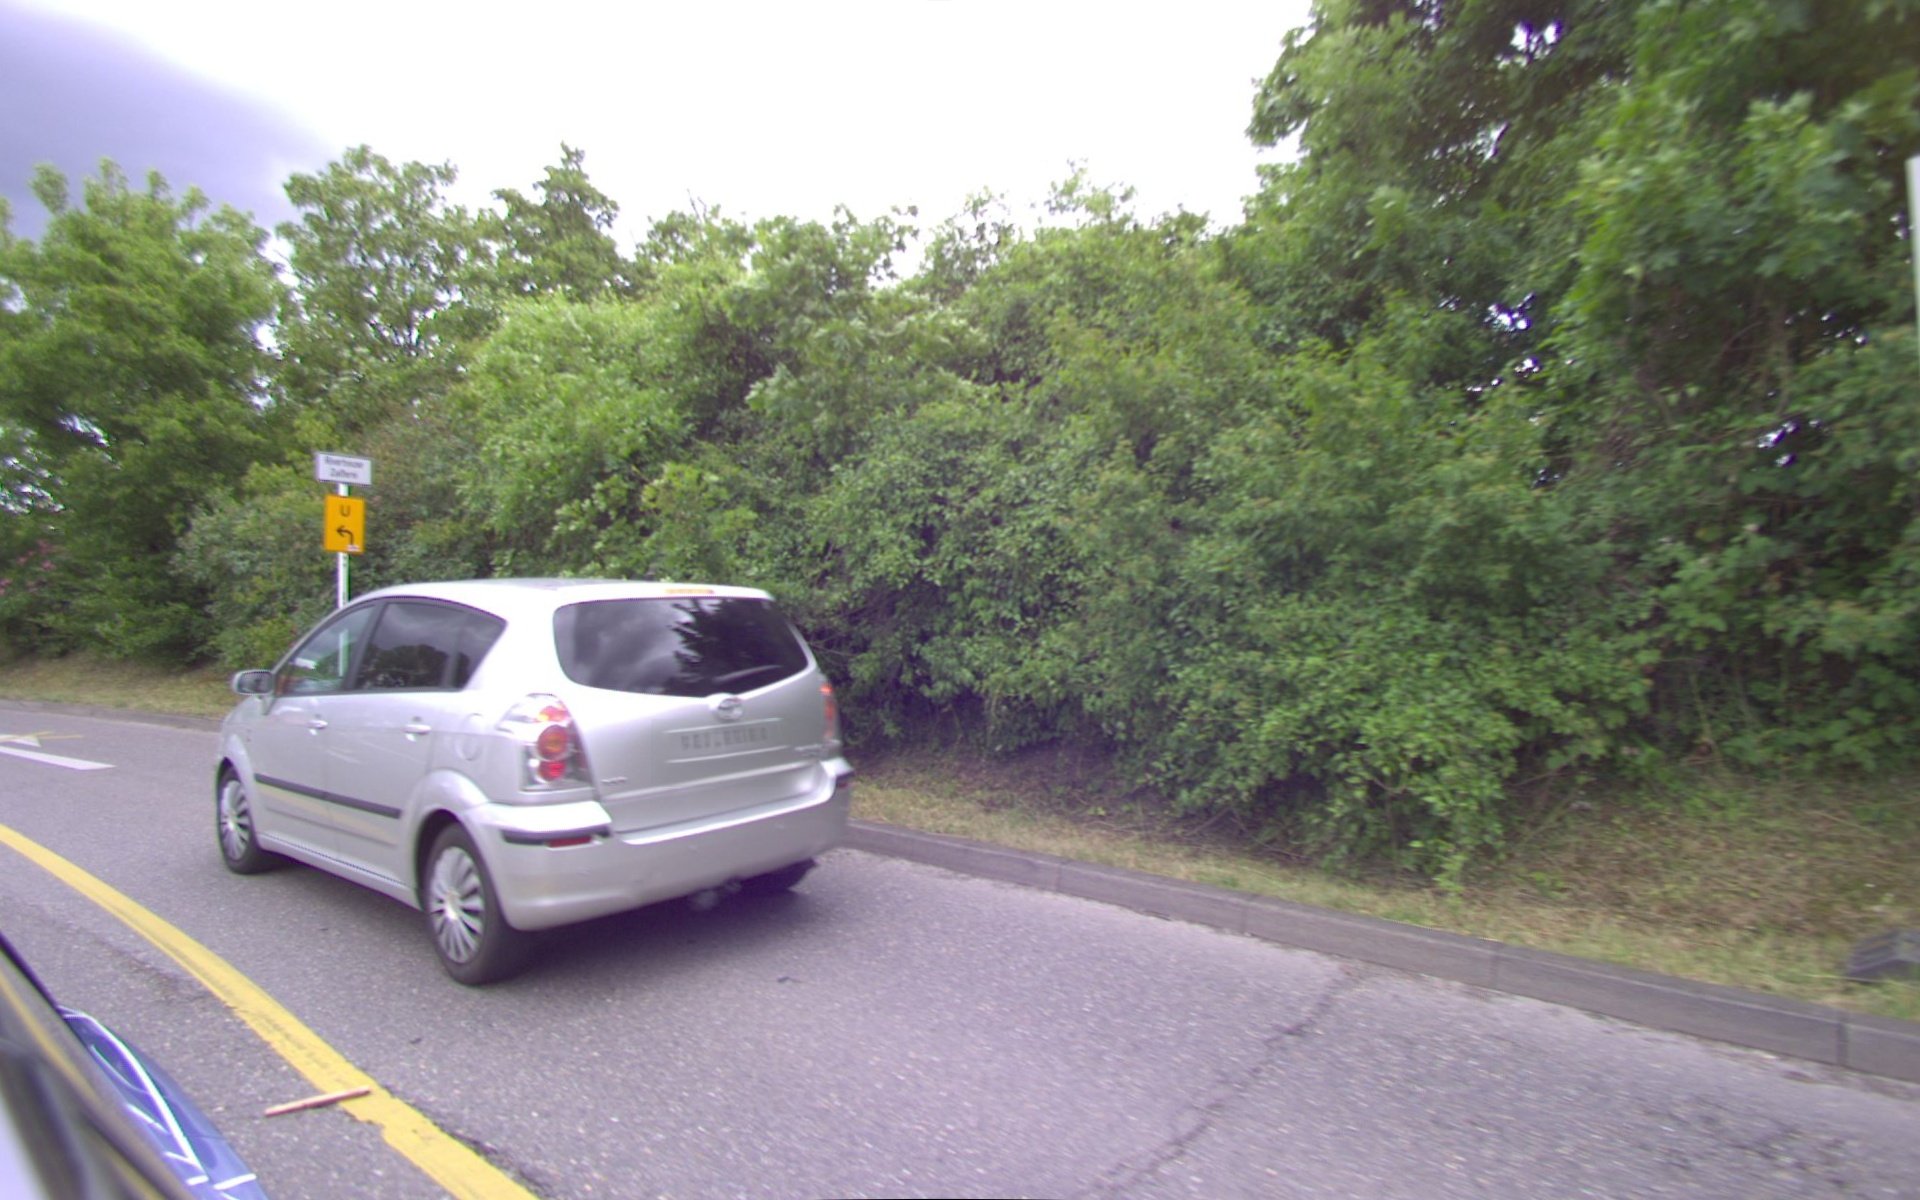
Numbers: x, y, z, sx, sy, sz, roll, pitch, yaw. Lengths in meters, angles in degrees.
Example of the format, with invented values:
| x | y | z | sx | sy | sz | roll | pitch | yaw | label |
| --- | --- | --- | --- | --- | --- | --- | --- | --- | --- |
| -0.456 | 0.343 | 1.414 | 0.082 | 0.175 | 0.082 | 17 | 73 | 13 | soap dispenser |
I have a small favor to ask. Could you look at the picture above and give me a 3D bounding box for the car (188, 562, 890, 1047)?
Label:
| x | y | z | sx | sy | sz | roll | pitch | yaw | label |
| --- | --- | --- | --- | --- | --- | --- | --- | --- | --- |
| -2.436 | 0.682 | 5.253 | 4.183 | 1.564 | 1.639 | -1 | -1 | 40 | car |
